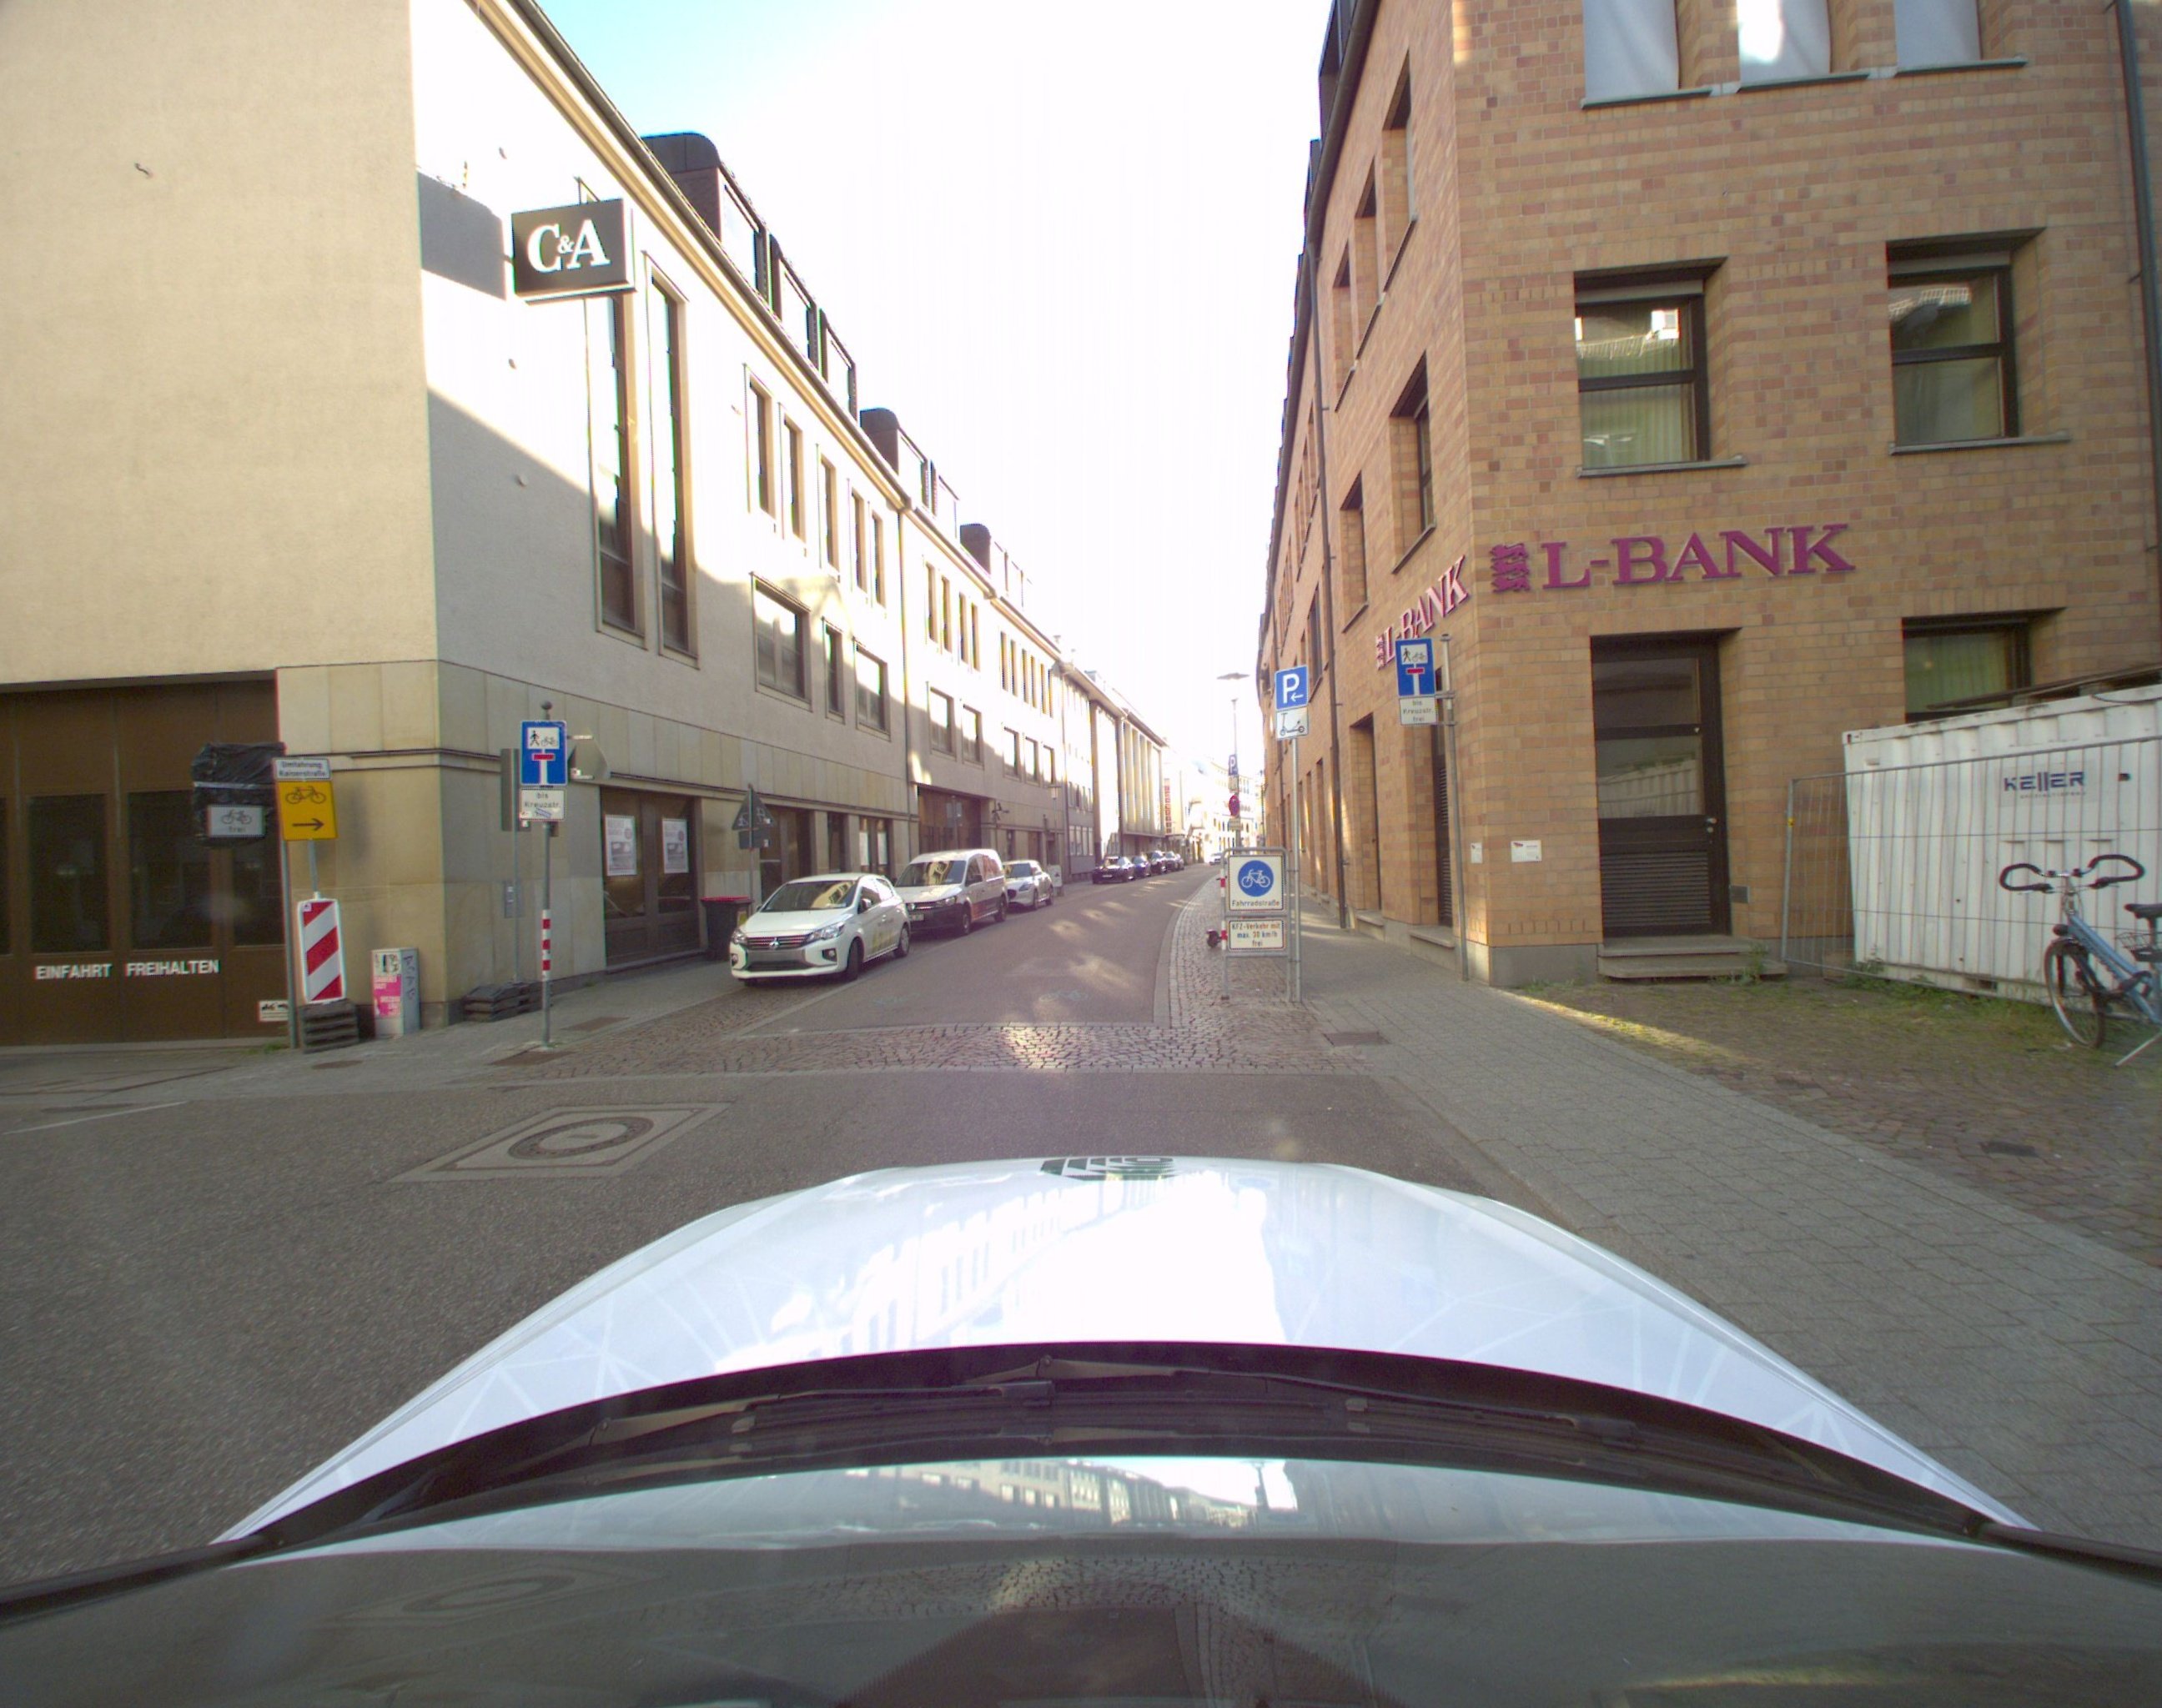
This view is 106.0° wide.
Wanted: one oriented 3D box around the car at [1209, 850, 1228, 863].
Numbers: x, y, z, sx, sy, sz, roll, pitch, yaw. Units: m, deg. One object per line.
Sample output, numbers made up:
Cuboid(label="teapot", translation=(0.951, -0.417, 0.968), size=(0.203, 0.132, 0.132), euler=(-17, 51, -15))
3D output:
Cuboid(label="car", translation=(15.074, 0.273, 89.402), size=(1.677, 1.370, 3.632), euler=(-3, 0, 14))

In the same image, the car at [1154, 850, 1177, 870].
Cuboid(label="car", translation=(6.678, 0.465, 64.297), size=(1.329, 1.494, 3.522), euler=(-3, 0, 12))

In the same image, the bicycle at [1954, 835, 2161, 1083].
Cuboid(label="bicycle", translation=(6.171, 0.561, 4.790), size=(0.546, 1.317, 1.653), euler=(-3, 0, 13))

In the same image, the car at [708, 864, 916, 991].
Cuboid(label="car", translation=(-3.880, 0.982, 12.480), size=(1.663, 1.507, 3.797), euler=(-4, 0, 3))

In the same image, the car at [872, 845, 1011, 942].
Cuboid(label="car", translation=(-2.950, 0.765, 18.323), size=(1.661, 1.818, 4.562), euler=(-4, 0, 8))

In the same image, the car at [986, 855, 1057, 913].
Cuboid(label="car", translation=(-1.719, 0.845, 24.475), size=(1.264, 1.507, 3.410), euler=(-4, 0, 9))

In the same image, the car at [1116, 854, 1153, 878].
Cuboid(label="car", translation=(3.405, 0.737, 51.257), size=(1.712, 1.340, 4.014), euler=(-3, 0, 12))

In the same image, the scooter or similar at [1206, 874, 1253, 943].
Cuboid(label="scooter or similar", translation=(2.486, 0.905, 13.647), size=(0.767, 1.136, 0.269), euler=(0, -1, 4))

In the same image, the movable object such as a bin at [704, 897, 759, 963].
Cuboid(label="movable object such as a bin", translation=(-5.869, 1.265, 13.694), size=(0.607, 1.060, 0.713), euler=(0, -1, -1))

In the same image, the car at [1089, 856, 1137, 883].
Cuboid(label="car", translation=(1.815, 0.814, 44.764), size=(1.868, 1.332, 4.114), euler=(-3, 0, 12))

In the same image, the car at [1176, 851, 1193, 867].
Cuboid(label="car", translation=(10.406, 0.495, 81.447), size=(1.329, 1.494, 3.358), euler=(-3, 0, 12))

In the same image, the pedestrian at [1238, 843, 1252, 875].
Cuboid(label="pedestrian", translation=(9.155, 0.283, 45.485), size=(0.662, 1.730, 0.840), euler=(0, -1, 2))

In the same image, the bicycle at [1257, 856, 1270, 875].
Cuboid(label="bicycle", translation=(10.145, 0.627, 45.268), size=(0.508, 0.994, 2.654), euler=(-2, 0, 9))
